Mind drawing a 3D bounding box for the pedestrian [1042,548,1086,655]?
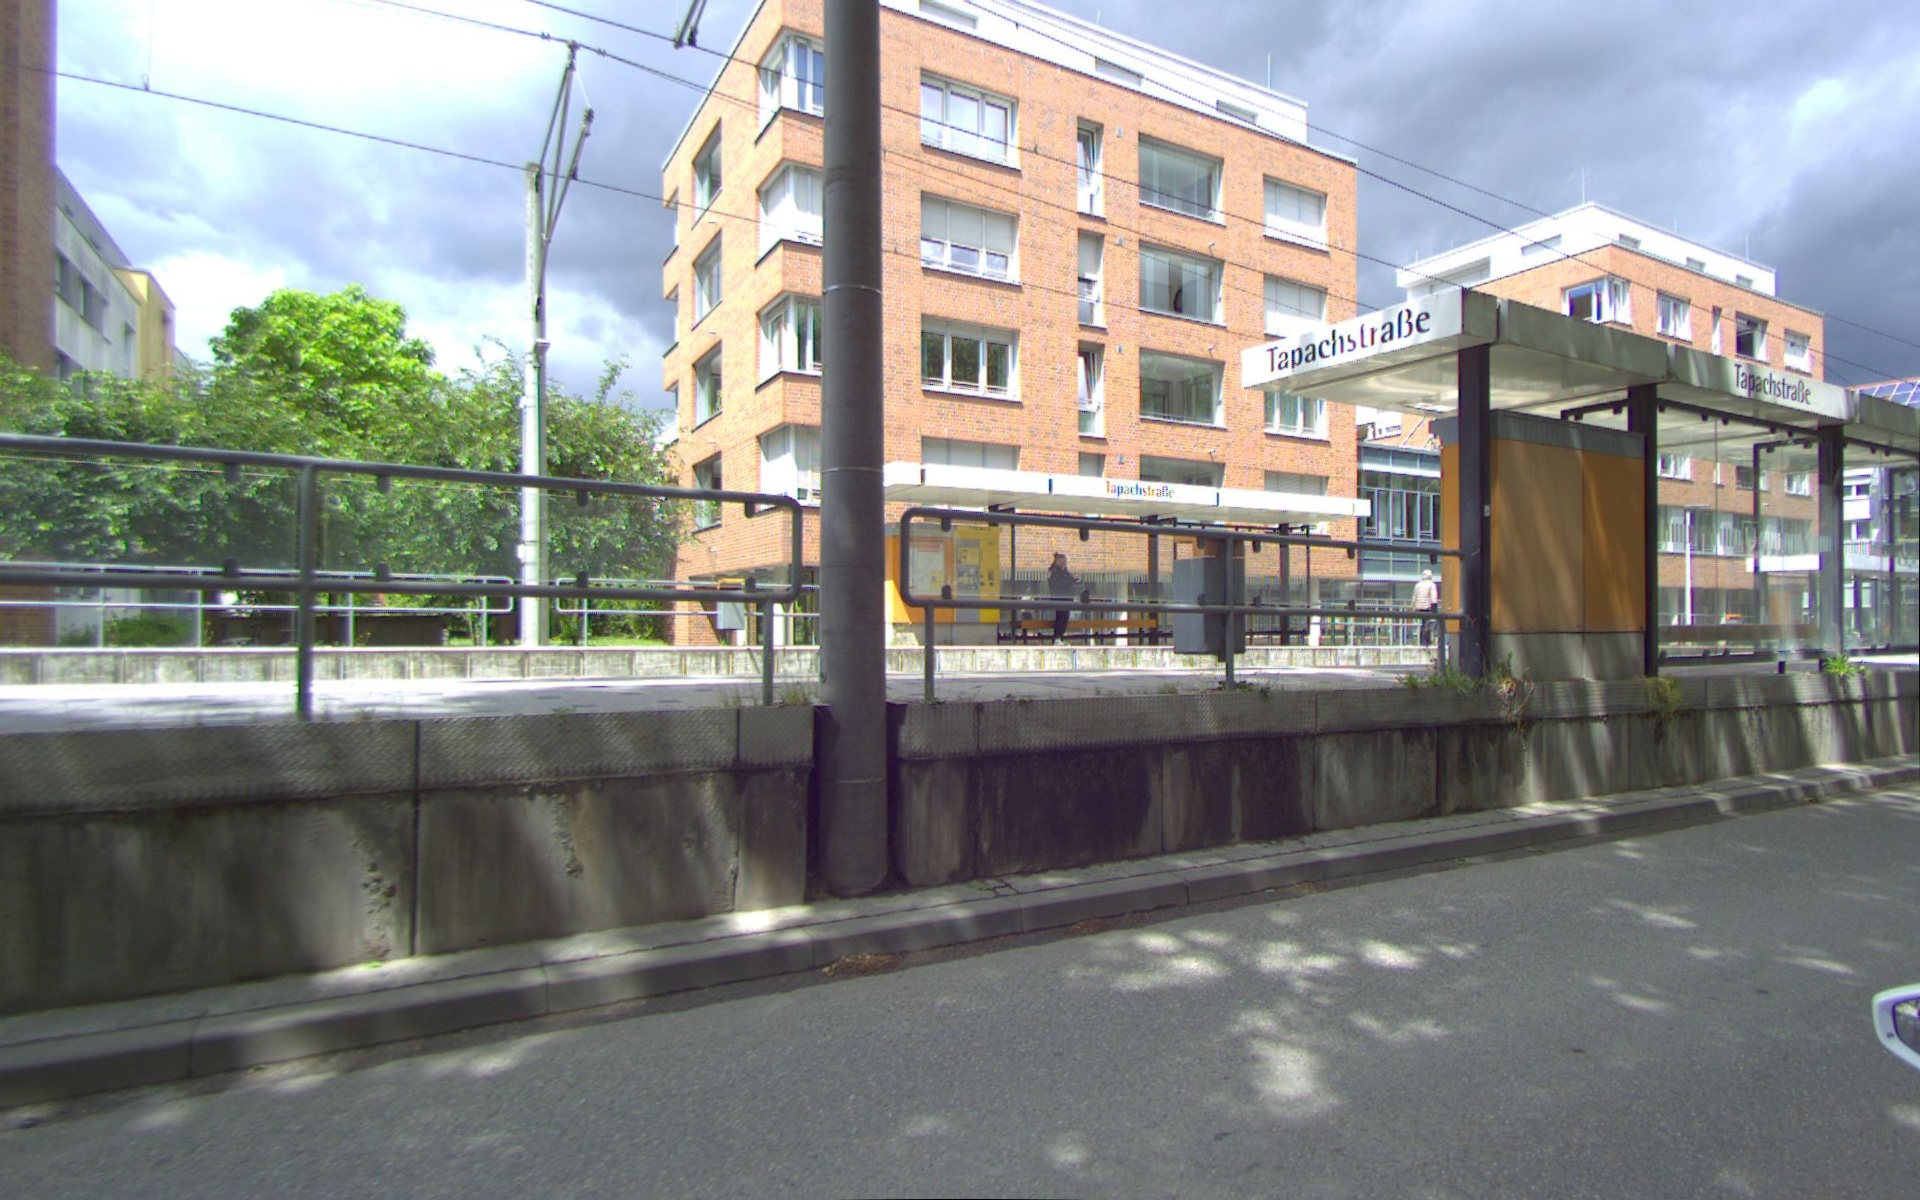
[{"bbox_3d":[1.769,0.037,17.048,0.522,1.787,0.531,1,-1,-33],"label":"pedestrian"}]

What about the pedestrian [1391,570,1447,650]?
[{"bbox_3d":[9.782,0.215,21.420,0.806,1.650,0.748,1,0,-30],"label":"pedestrian"}]
